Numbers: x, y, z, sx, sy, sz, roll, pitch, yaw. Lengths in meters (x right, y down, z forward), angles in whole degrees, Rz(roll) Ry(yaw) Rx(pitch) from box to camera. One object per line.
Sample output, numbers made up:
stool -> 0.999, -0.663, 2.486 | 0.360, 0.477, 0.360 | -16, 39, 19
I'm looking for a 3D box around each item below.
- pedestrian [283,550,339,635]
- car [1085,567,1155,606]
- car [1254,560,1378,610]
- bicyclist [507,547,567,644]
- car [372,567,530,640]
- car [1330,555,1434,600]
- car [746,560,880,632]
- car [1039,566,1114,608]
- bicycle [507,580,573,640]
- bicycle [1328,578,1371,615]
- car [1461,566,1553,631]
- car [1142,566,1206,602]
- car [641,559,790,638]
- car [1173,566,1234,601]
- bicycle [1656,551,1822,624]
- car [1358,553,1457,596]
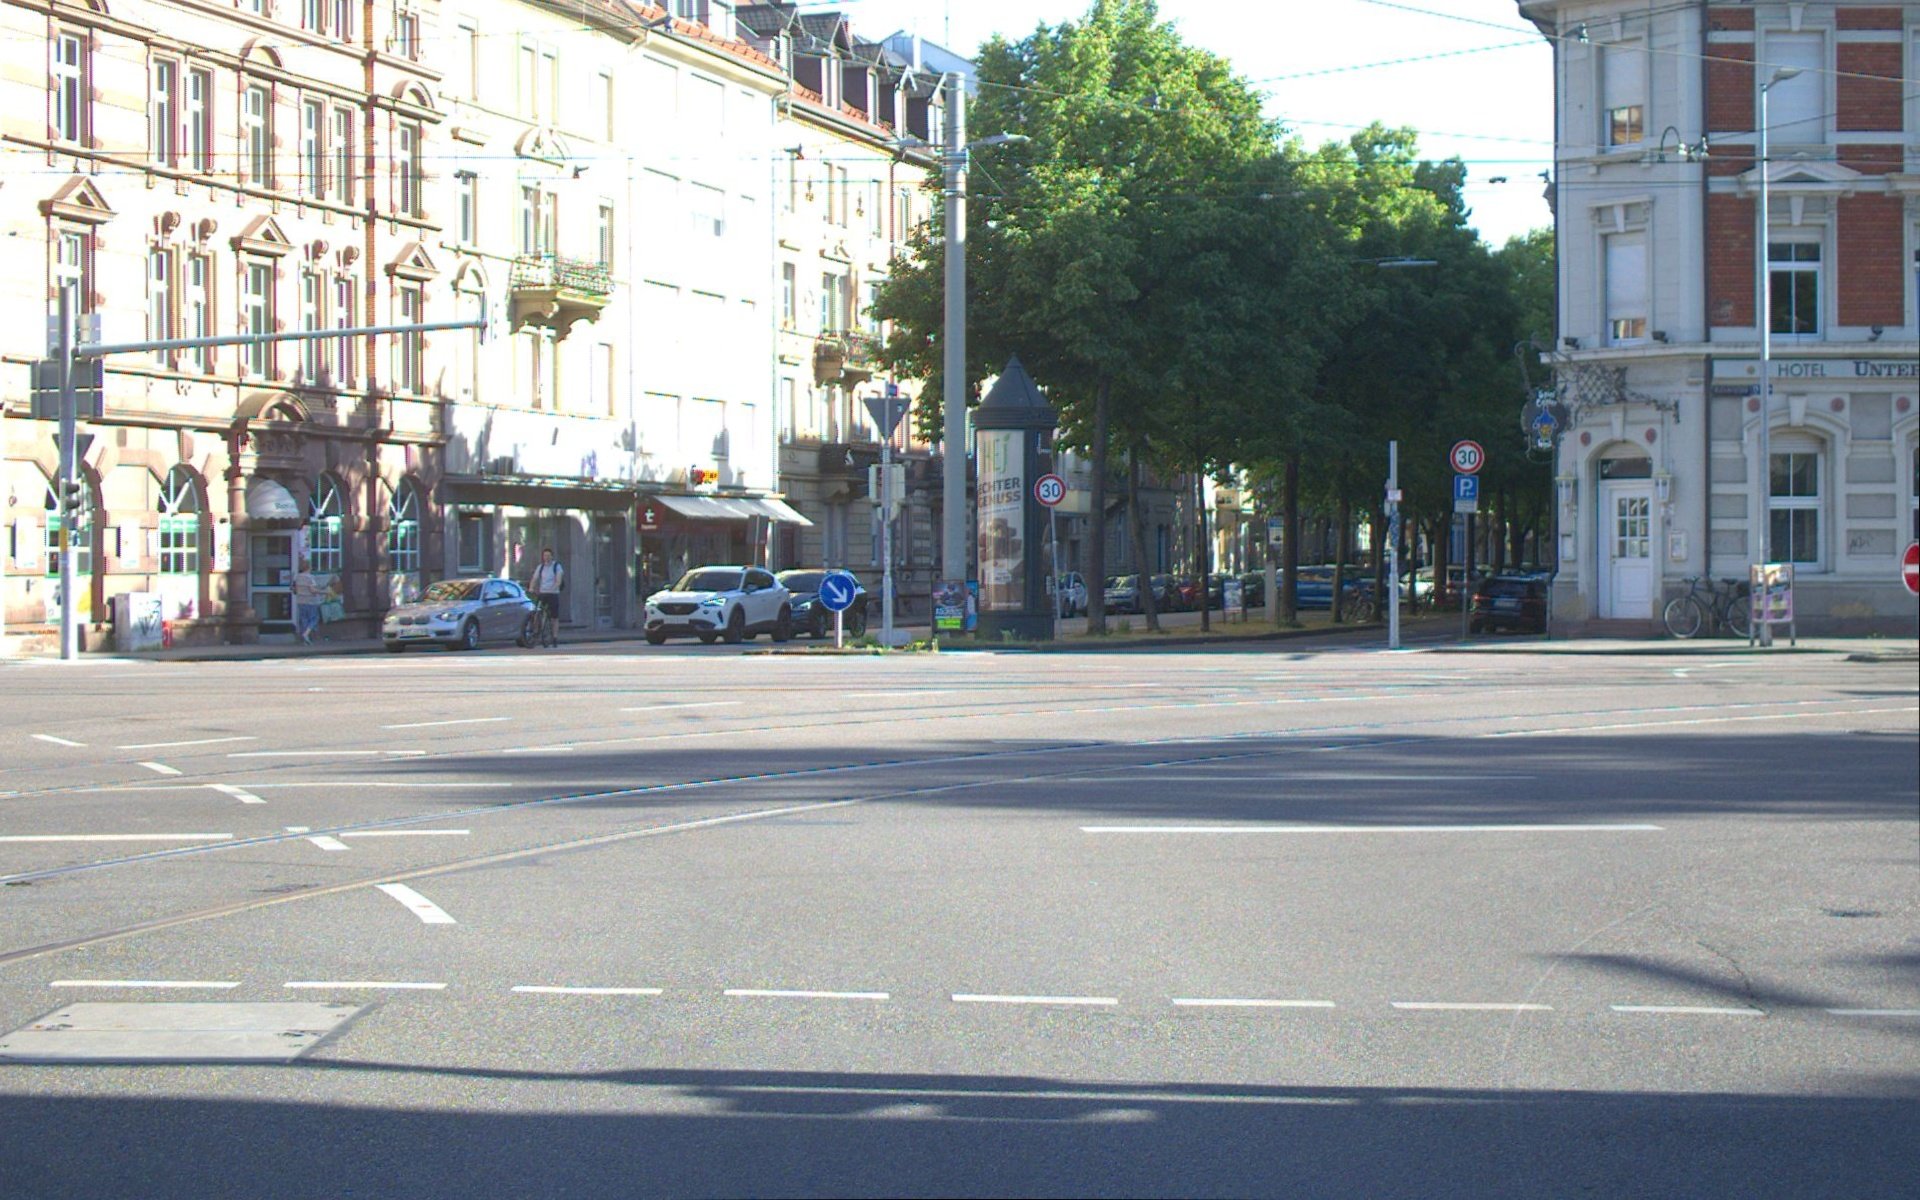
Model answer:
pedestrian -> -12.859, -0.159, 68.124 | 0.776, 1.664, 0.830 | 1, 0, 15
car -> 5.709, -0.498, 122.442 | 1.678, 1.349, 3.588 | 0, 1, 17
car -> 11.996, -0.512, 115.679 | 3.905, 1.642, 1.681 | 0, 1, 17
bicyclist -> -8.010, -0.089, 65.140 | 0.779, 1.797, 1.055 | 1, 0, 14
car -> -9.868, 0.054, 66.911 | 1.678, 1.349, 3.588 | 0, 1, 17
car -> 15.718, -0.849, 128.034 | 3.582, 1.642, 1.681 | 0, 1, 17
car -> -3.115, -0.103, 73.616 | 1.678, 1.478, 3.945 | 0, 1, 16
car -> 3.938, -0.445, 115.481 | 1.678, 1.349, 3.588 | 0, 1, 17
bicycle -> -7.974, 0.184, 65.266 | 0.702, 1.114, 1.634 | 1, 1, 13
bicycle -> 11.266, -0.106, 99.485 | 0.636, 1.018, 1.847 | 1, 1, -14
car -> 13.154, -0.059, 82.575 | 1.678, 1.478, 3.945 | 0, 1, 16
car -> 8.145, -0.617, 130.748 | 1.678, 1.349, 3.588 | 0, 1, 17
car -> -4.757, -0.053, 67.315 | 1.678, 1.478, 3.768 | 0, 1, 17
car -> 9.617, -0.656, 135.779 | 1.678, 1.349, 3.588 | 0, 1, 17
bicycle -> 12.974, -0.209, 57.277 | 2.554, 1.170, 0.819 | 1, 0, -3
car -> 17.393, -1.003, 133.508 | 3.582, 1.642, 1.681 | 0, 1, 17
